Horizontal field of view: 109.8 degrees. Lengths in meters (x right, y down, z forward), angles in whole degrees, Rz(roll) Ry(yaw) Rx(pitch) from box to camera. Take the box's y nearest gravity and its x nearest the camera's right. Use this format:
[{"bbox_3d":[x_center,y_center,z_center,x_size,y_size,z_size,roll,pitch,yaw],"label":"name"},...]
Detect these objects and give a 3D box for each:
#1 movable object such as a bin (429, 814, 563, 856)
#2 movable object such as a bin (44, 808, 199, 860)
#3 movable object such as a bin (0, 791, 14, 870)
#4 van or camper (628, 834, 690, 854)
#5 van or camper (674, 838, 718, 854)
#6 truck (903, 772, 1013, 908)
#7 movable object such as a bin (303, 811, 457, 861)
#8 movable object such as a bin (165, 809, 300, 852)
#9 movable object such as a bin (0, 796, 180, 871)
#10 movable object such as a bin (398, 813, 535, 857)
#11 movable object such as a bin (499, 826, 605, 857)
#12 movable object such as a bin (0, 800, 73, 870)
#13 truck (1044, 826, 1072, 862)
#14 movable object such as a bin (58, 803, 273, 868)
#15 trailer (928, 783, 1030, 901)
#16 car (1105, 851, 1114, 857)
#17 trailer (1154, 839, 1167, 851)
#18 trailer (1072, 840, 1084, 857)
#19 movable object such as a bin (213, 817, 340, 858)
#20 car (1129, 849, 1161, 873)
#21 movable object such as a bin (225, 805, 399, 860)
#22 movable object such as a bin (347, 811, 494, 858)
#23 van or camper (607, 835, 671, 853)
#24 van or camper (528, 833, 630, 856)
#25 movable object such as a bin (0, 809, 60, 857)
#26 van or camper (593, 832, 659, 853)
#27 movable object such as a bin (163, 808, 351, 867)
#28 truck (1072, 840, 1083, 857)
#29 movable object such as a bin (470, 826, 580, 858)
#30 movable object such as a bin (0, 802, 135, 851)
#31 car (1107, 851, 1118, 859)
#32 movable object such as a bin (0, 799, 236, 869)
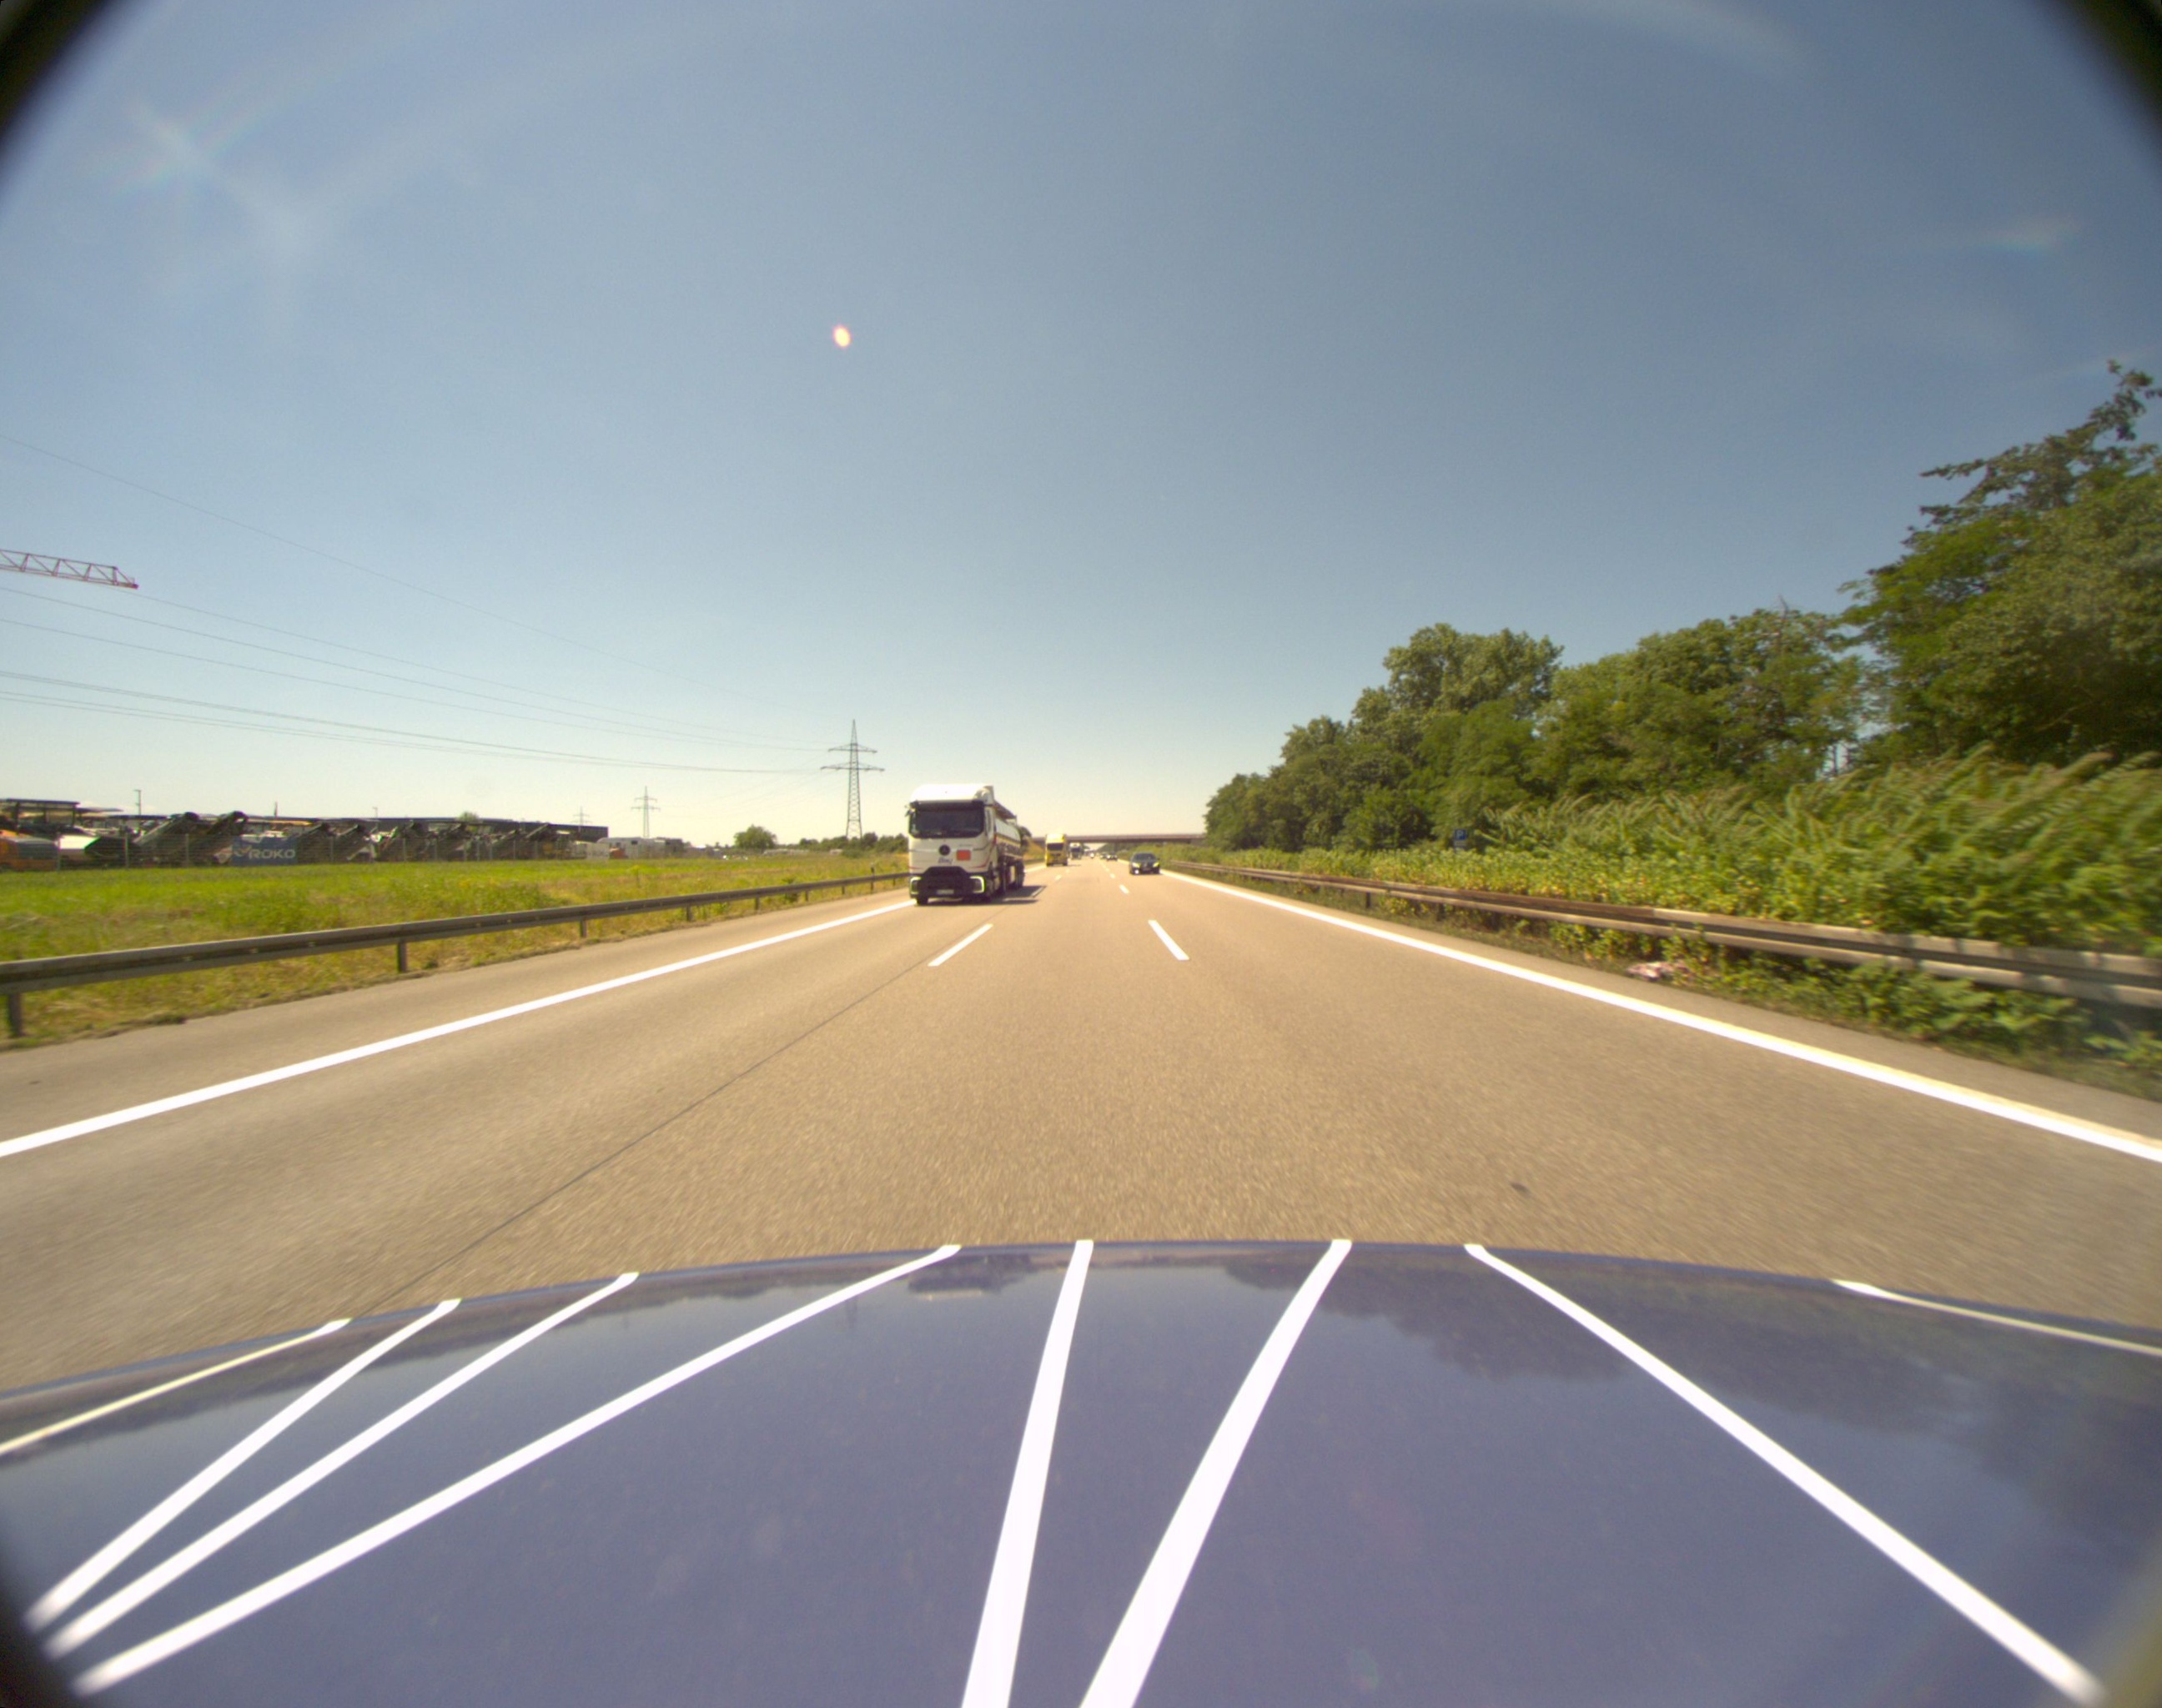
[{"bbox_3d":[-53.743,-1.711,69.974,9.741,3.668,3.418,1,1,1],"label":"movable object such as a bin"},{"bbox_3d":[-73.996,-1.558,58.679,8.764,3.815,3.136,1,1,5],"label":"movable object such as a bin"},{"bbox_3d":[-55.197,-1.170,34.325,10.278,3.668,2.664,1,1,1],"label":"movable object such as a bin"},{"bbox_3d":[-52.750,-1.257,95.083,6.357,2.538,2.438,0,0,2],"label":"van or camper"},{"bbox_3d":[-68.281,-1.346,134.784,6.462,2.751,2.422,0,0,-1],"label":"van or camper"},{"bbox_3d":[-4.035,-0.429,26.433,2.579,4.048,6.392,-2,0,0],"label":"truck"},{"bbox_3d":[-53.887,-1.372,58.517,9.739,3.668,2.633,1,1,3],"label":"movable object such as a bin"},{"bbox_3d":[-73.264,-2.039,65.673,9.061,3.551,2.923,1,1,5],"label":"movable object such as a bin"},{"bbox_3d":[-54.004,-1.088,39.881,10.278,3.668,2.664,1,1,1],"label":"movable object such as a bin"},{"bbox_3d":[-53.623,-1.646,66.457,9.739,3.668,2.976,1,1,2],"label":"movable object such as a bin"},{"bbox_3d":[-54.044,-1.254,77.783,8.749,2.989,3.214,1,1,3],"label":"movable object such as a bin"},{"bbox_3d":[-55.380,-0.960,37.073,9.127,3.289,2.532,1,1,1],"label":"movable object such as a bin"},{"bbox_3d":[-2.786,-1.232,96.343,2.941,4.175,10.681,-2,0,1],"label":"truck"},{"bbox_3d":[-54.954,-1.090,45.751,9.741,3.668,2.678,1,1,1],"label":"movable object such as a bin"},{"bbox_3d":[-3.992,-0.444,32.429,2.586,4.050,11.102,-2,0,0],"label":"trailer"},{"bbox_3d":[6.370,0.030,171.789,1.811,1.417,4.000,-2,0,1],"label":"car"},{"bbox_3d":[25.105,-2.774,240.366,2.593,3.397,14.155,-2,0,1],"label":"trailer"},{"bbox_3d":[-0.744,-1.314,193.401,2.476,4.038,13.880,-2,0,1],"label":"trailer"},{"bbox_3d":[-72.901,-1.516,68.917,9.061,3.551,2.923,1,1,5],"label":"movable object such as a bin"},{"bbox_3d":[4.199,0.460,50.480,1.811,1.459,4.000,-2,0,1],"label":"car"},{"bbox_3d":[-54.792,-1.506,54.299,9.741,3.668,2.678,1,1,1],"label":"movable object such as a bin"},{"bbox_3d":[-54.030,-1.566,62.298,9.739,3.668,2.977,1,1,3],"label":"movable object such as a bin"},{"bbox_3d":[-52.941,-1.187,91.128,6.131,2.207,2.602,0,0,2],"label":"van or camper"},{"bbox_3d":[-55.448,-1.050,84.023,9.333,2.506,3.161,0,0,2],"label":"van or camper"},{"bbox_3d":[-74.224,-1.415,51.047,7.995,3.131,2.923,1,1,5],"label":"movable object such as a bin"},{"bbox_3d":[-52.870,-1.366,88.336,6.131,2.388,2.602,0,0,2],"label":"van or camper"},{"bbox_3d":[-55.108,-1.096,50.973,9.741,3.668,2.678,1,1,1],"label":"movable object such as a bin"},{"bbox_3d":[-0.858,-1.308,186.615,2.476,4.038,6.320,-2,0,1],"label":"truck"},{"bbox_3d":[-54.204,-1.161,74.216,8.750,2.989,2.956,1,1,2],"label":"movable object such as a bin"},{"bbox_3d":[-74.159,-1.962,55.075,8.203,3.405,2.923,1,1,5],"label":"movable object such as a bin"},{"bbox_3d":[5.455,0.163,132.112,1.811,1.417,4.000,-2,0,1],"label":"car"},{"bbox_3d":[-53.909,-1.099,42.683,10.278,3.668,2.393,1,1,1],"label":"movable object such as a bin"}]
